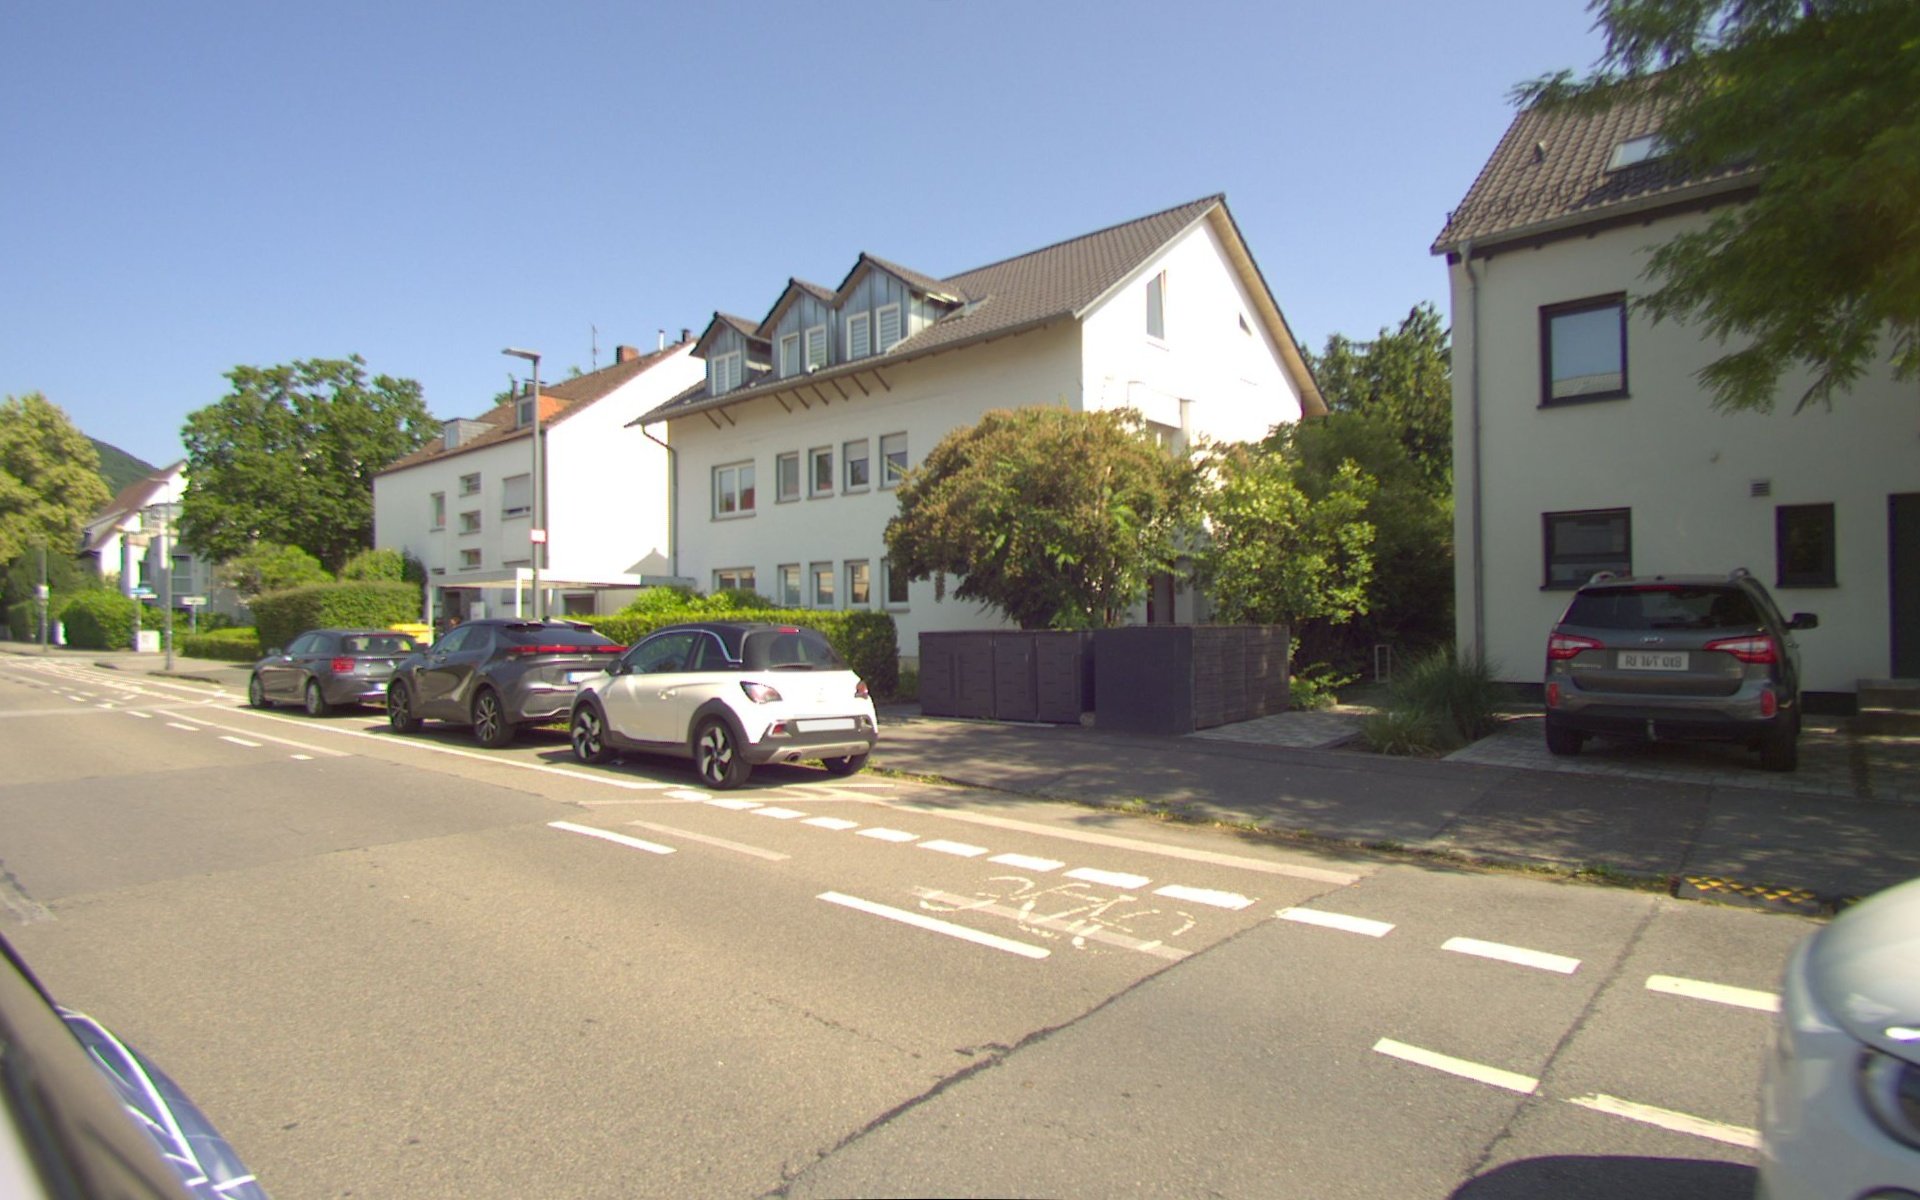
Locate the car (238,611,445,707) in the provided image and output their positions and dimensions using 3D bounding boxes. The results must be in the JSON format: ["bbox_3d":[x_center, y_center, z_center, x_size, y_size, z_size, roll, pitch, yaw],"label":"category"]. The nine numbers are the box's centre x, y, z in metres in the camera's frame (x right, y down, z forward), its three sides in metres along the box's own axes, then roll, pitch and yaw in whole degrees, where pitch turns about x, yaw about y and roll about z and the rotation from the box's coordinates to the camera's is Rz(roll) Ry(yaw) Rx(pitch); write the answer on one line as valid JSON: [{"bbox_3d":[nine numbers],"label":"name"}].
[{"bbox_3d":[-10.659,0.923,17.337,4.150,1.451,1.768,-1,-1,39],"label":"car"}]

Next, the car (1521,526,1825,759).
[{"bbox_3d":[7.055,0.294,9.838,1.999,1.772,3.945,-1,0,41],"label":"car"}]

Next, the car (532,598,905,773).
[{"bbox_3d":[-2.606,0.756,10.427,3.999,1.451,1.766,-1,-2,42],"label":"car"}]

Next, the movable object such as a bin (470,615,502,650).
[{"bbox_3d":[-15.352,1.054,32.790,0.706,1.099,0.694,0,1,37],"label":"movable object such as a bin"}]

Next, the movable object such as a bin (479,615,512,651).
[{"bbox_3d":[-14.884,1.053,32.420,0.706,1.099,0.694,0,1,37],"label":"movable object such as a bin"}]

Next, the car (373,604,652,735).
[{"bbox_3d":[-5.934,0.799,13.215,4.109,1.451,1.766,-1,-1,41],"label":"car"}]

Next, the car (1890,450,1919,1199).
[{"bbox_3d":[3.315,0.490,0.588,3.997,1.552,1.714,0,0,41],"label":"car"}]
